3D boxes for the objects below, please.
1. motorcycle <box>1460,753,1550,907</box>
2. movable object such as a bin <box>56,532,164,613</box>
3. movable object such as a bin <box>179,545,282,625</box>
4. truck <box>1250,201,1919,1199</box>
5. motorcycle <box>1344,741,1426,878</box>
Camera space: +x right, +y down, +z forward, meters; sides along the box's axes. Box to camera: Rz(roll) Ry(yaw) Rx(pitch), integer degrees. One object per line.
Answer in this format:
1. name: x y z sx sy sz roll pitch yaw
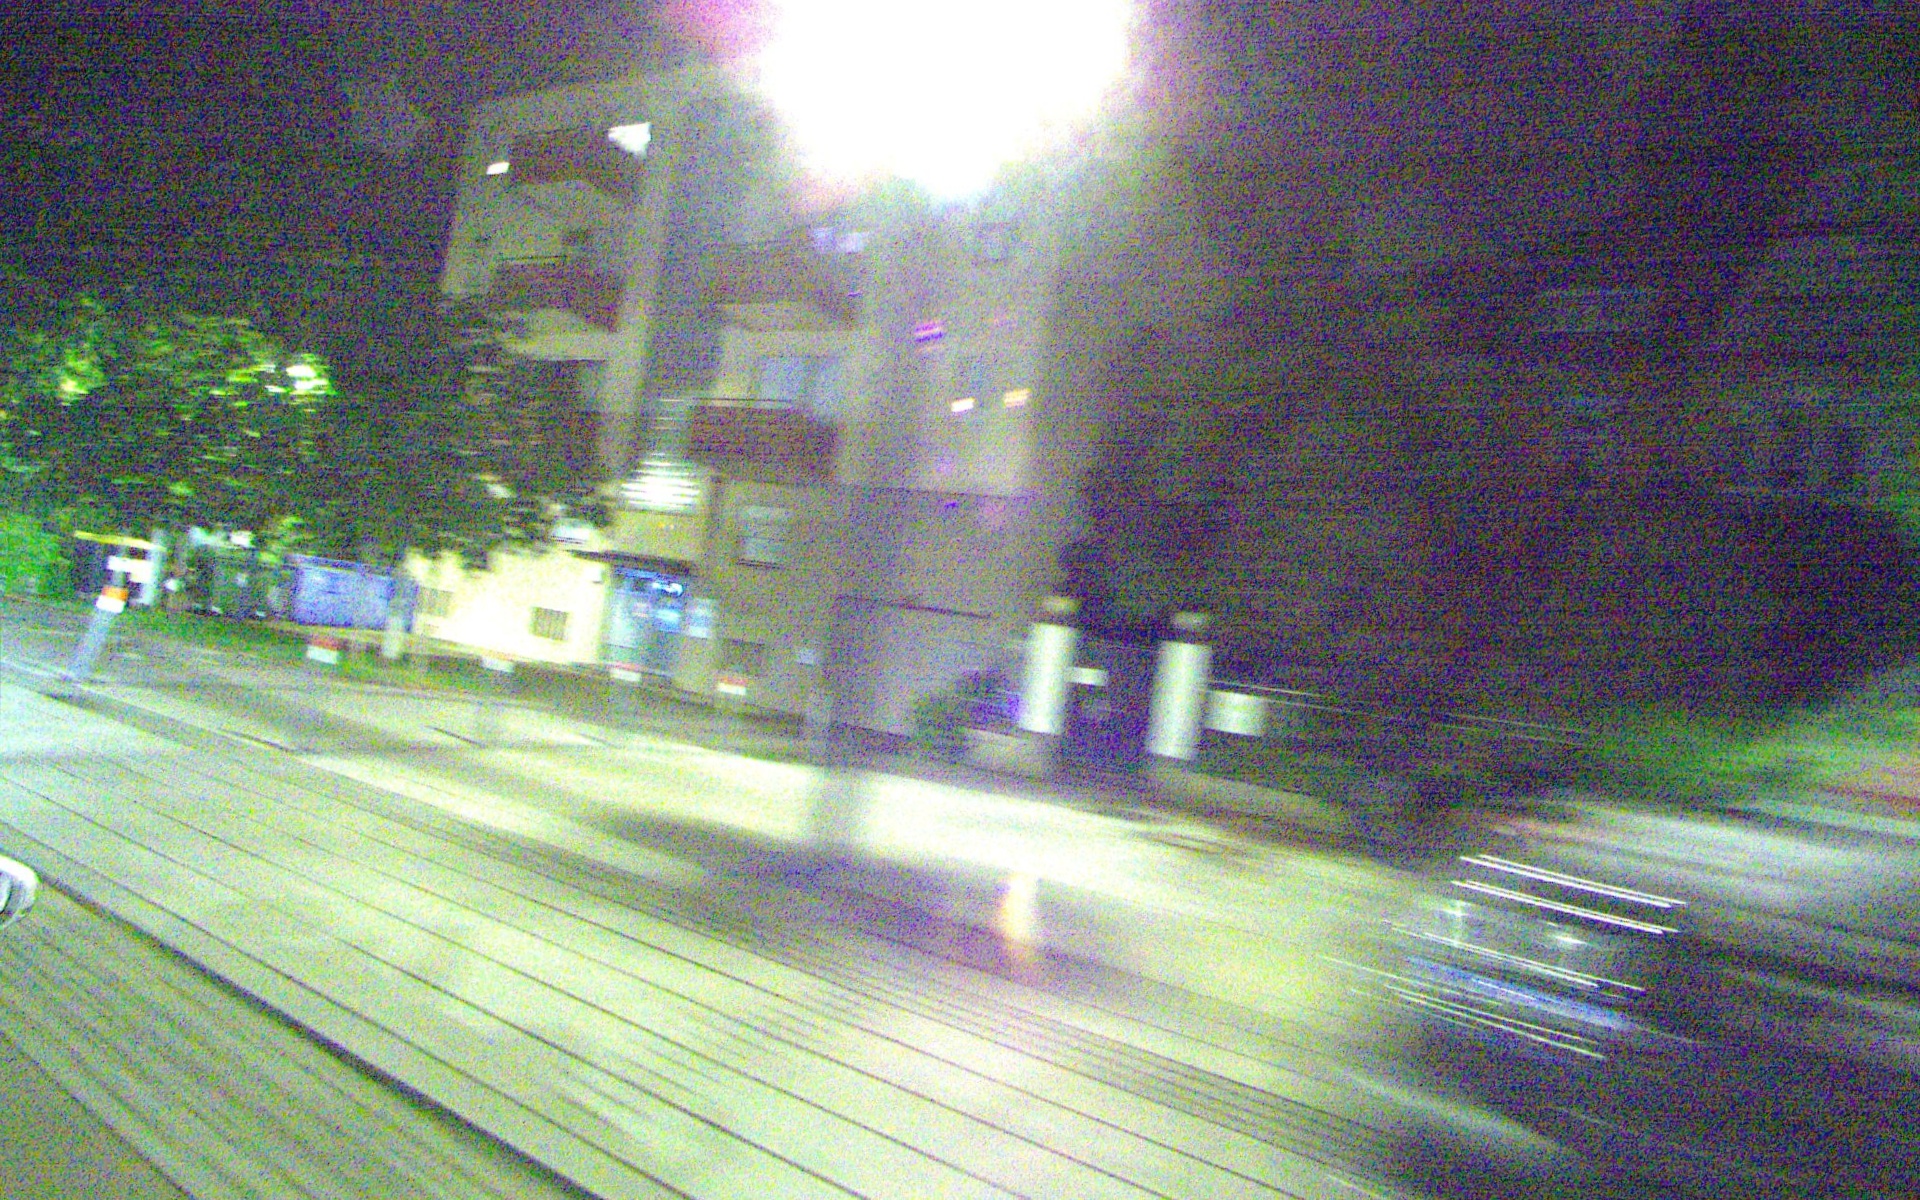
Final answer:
1. motorcycle: 5.215 2.139 9.705 0.551 1.198 2.024 7 -3 27
2. movable object such as a bin: -16.320 -0.518 19.334 0.992 1.320 1.109 7 -4 26
3. movable object such as a bin: -15.404 -0.307 21.256 1.098 1.435 1.265 6 -2 28
4. truck: 3.662 0.858 1.478 5.686 2.338 2.341 7 -3 32
5. motorcycle: 4.393 2.095 10.339 0.551 1.198 1.636 7 -3 27
